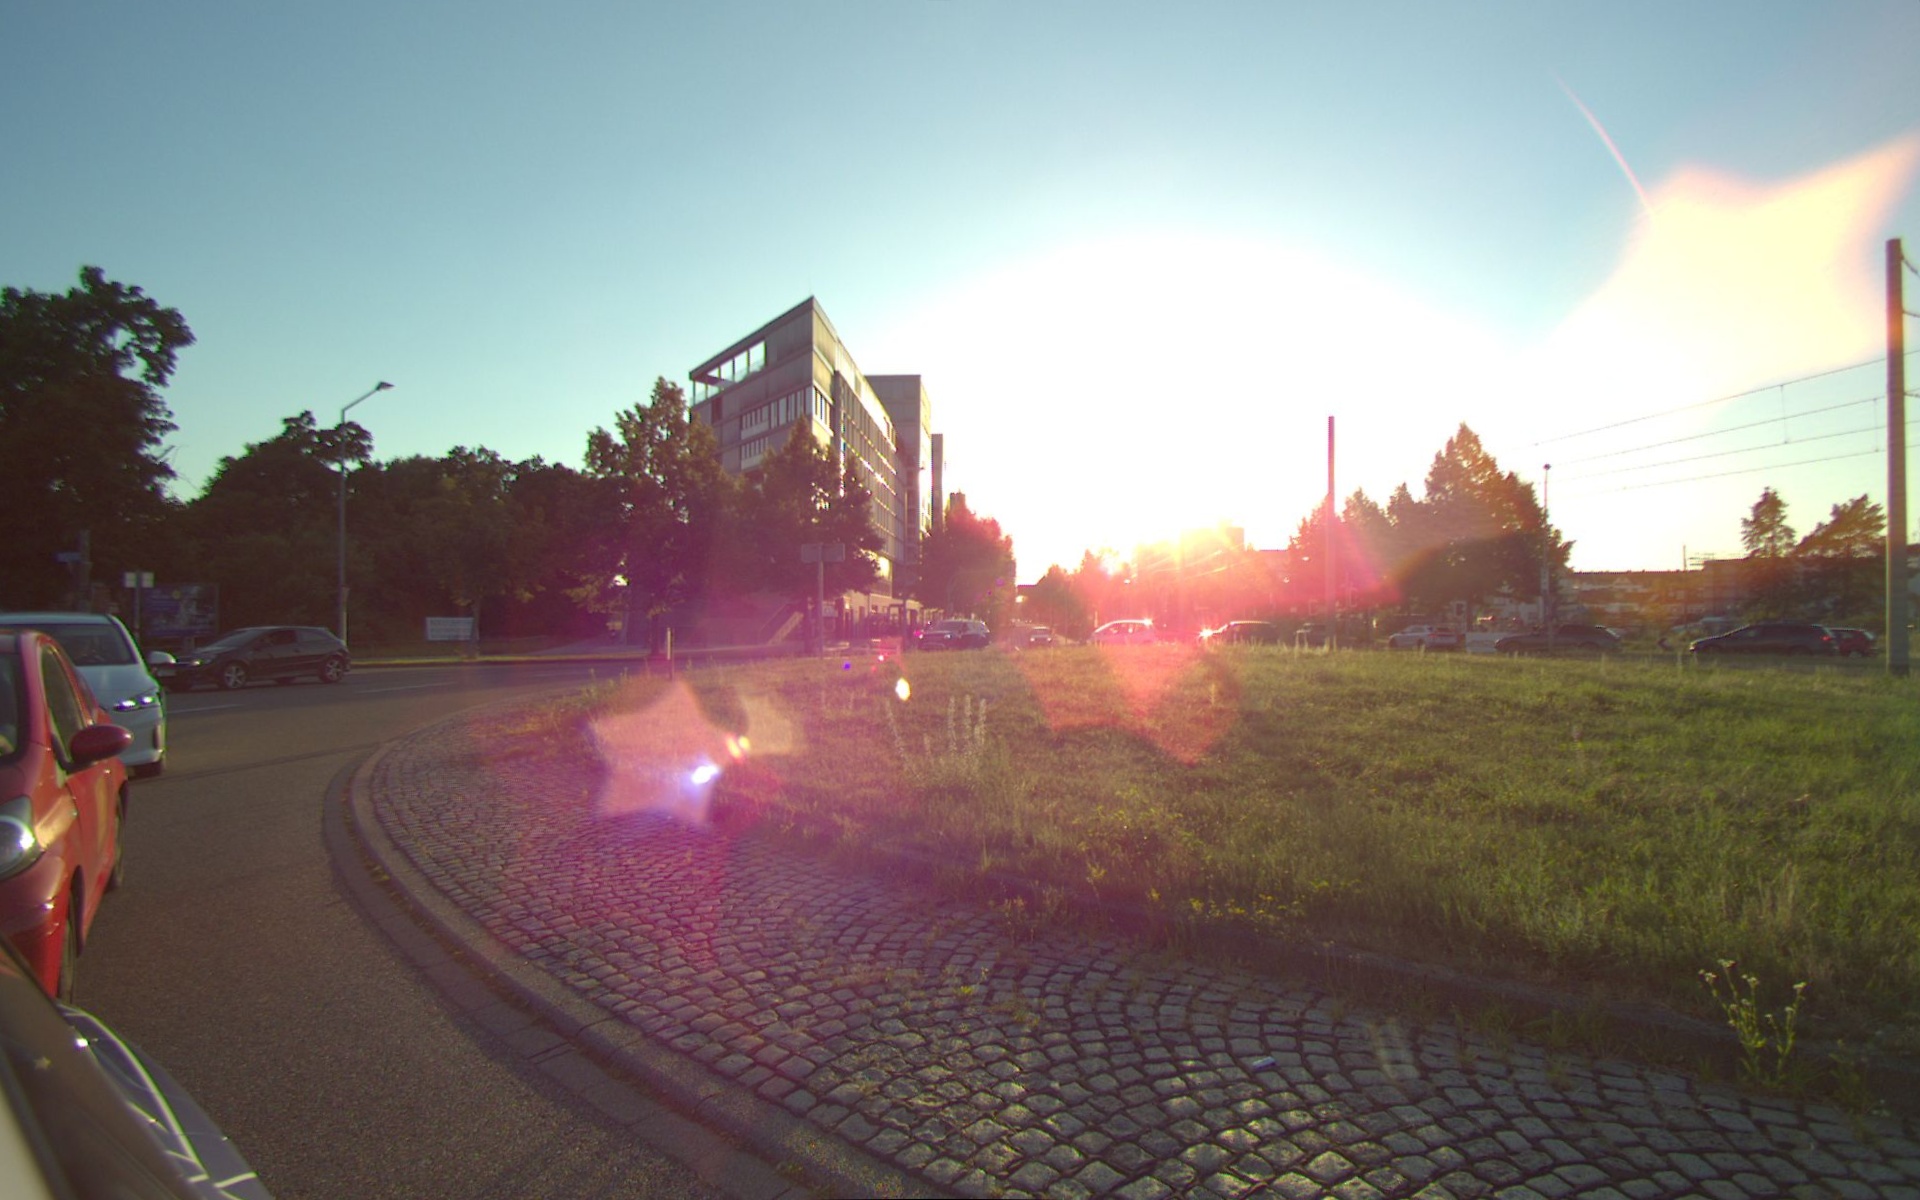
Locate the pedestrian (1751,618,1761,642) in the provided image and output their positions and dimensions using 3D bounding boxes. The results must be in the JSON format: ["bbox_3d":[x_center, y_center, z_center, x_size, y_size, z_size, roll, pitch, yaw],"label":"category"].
[{"bbox_3d":[43.573,1.620,55.416,0.397,1.318,0.423,-1,-2,41],"label":"pedestrian"}]

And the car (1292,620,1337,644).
[{"bbox_3d":[25.628,2.292,73.278,1.974,1.685,3.996,0,-1,3],"label":"car"}]

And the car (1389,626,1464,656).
[{"bbox_3d":[28.466,2.477,61.975,1.969,1.719,4.723,0,-1,-7],"label":"car"}]

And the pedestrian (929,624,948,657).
[{"bbox_3d":[-1.371,2.587,64.629,0.995,2.029,0.768,-1,0,29],"label":"pedestrian"}]

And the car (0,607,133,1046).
[{"bbox_3d":[-4.855,0.774,4.519,1.662,1.431,4.008,1,-2,-38],"label":"car"}]

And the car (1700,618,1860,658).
[{"bbox_3d":[30.634,1.382,37.907,1.969,1.386,4.389,1,-2,-42],"label":"car"}]

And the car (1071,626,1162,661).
[{"bbox_3d":[7.346,2.037,47.703,3.831,1.592,1.958,0,-1,-7],"label":"car"}]

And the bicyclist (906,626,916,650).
[{"bbox_3d":[-3.066,2.349,62.980,0.602,1.451,0.692,0,-1,-2],"label":"bicyclist"}]

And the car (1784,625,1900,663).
[{"bbox_3d":[37.376,1.821,42.943,1.616,1.511,3.497,1,-1,-39],"label":"car"}]

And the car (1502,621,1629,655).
[{"bbox_3d":[25.732,1.593,43.093,4.351,1.386,1.972,-1,-2,42],"label":"car"}]

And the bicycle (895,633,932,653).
[{"bbox_3d":[-2.885,2.673,62.958,2.315,1.254,0.742,0,-1,0],"label":"bicycle"}]

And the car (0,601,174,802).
[{"bbox_3d":[-9.078,0.856,9.787,1.970,1.618,4.202,1,-2,-43],"label":"car"}]

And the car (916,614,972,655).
[{"bbox_3d":[-0.704,1.714,49.923,1.976,1.827,5.293,-2,-2,7],"label":"car"}]

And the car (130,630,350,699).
[{"bbox_3d":[-16.573,1.430,23.573,1.733,1.389,4.109,-1,-1,12],"label":"car"}]

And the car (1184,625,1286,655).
[{"bbox_3d":[13.007,1.890,48.075,4.326,1.386,1.998,0,-1,3],"label":"car"}]

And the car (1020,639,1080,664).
[{"bbox_3d":[6.168,3.464,68.915,1.831,1.571,4.508,-1,-2,39],"label":"car"}]
